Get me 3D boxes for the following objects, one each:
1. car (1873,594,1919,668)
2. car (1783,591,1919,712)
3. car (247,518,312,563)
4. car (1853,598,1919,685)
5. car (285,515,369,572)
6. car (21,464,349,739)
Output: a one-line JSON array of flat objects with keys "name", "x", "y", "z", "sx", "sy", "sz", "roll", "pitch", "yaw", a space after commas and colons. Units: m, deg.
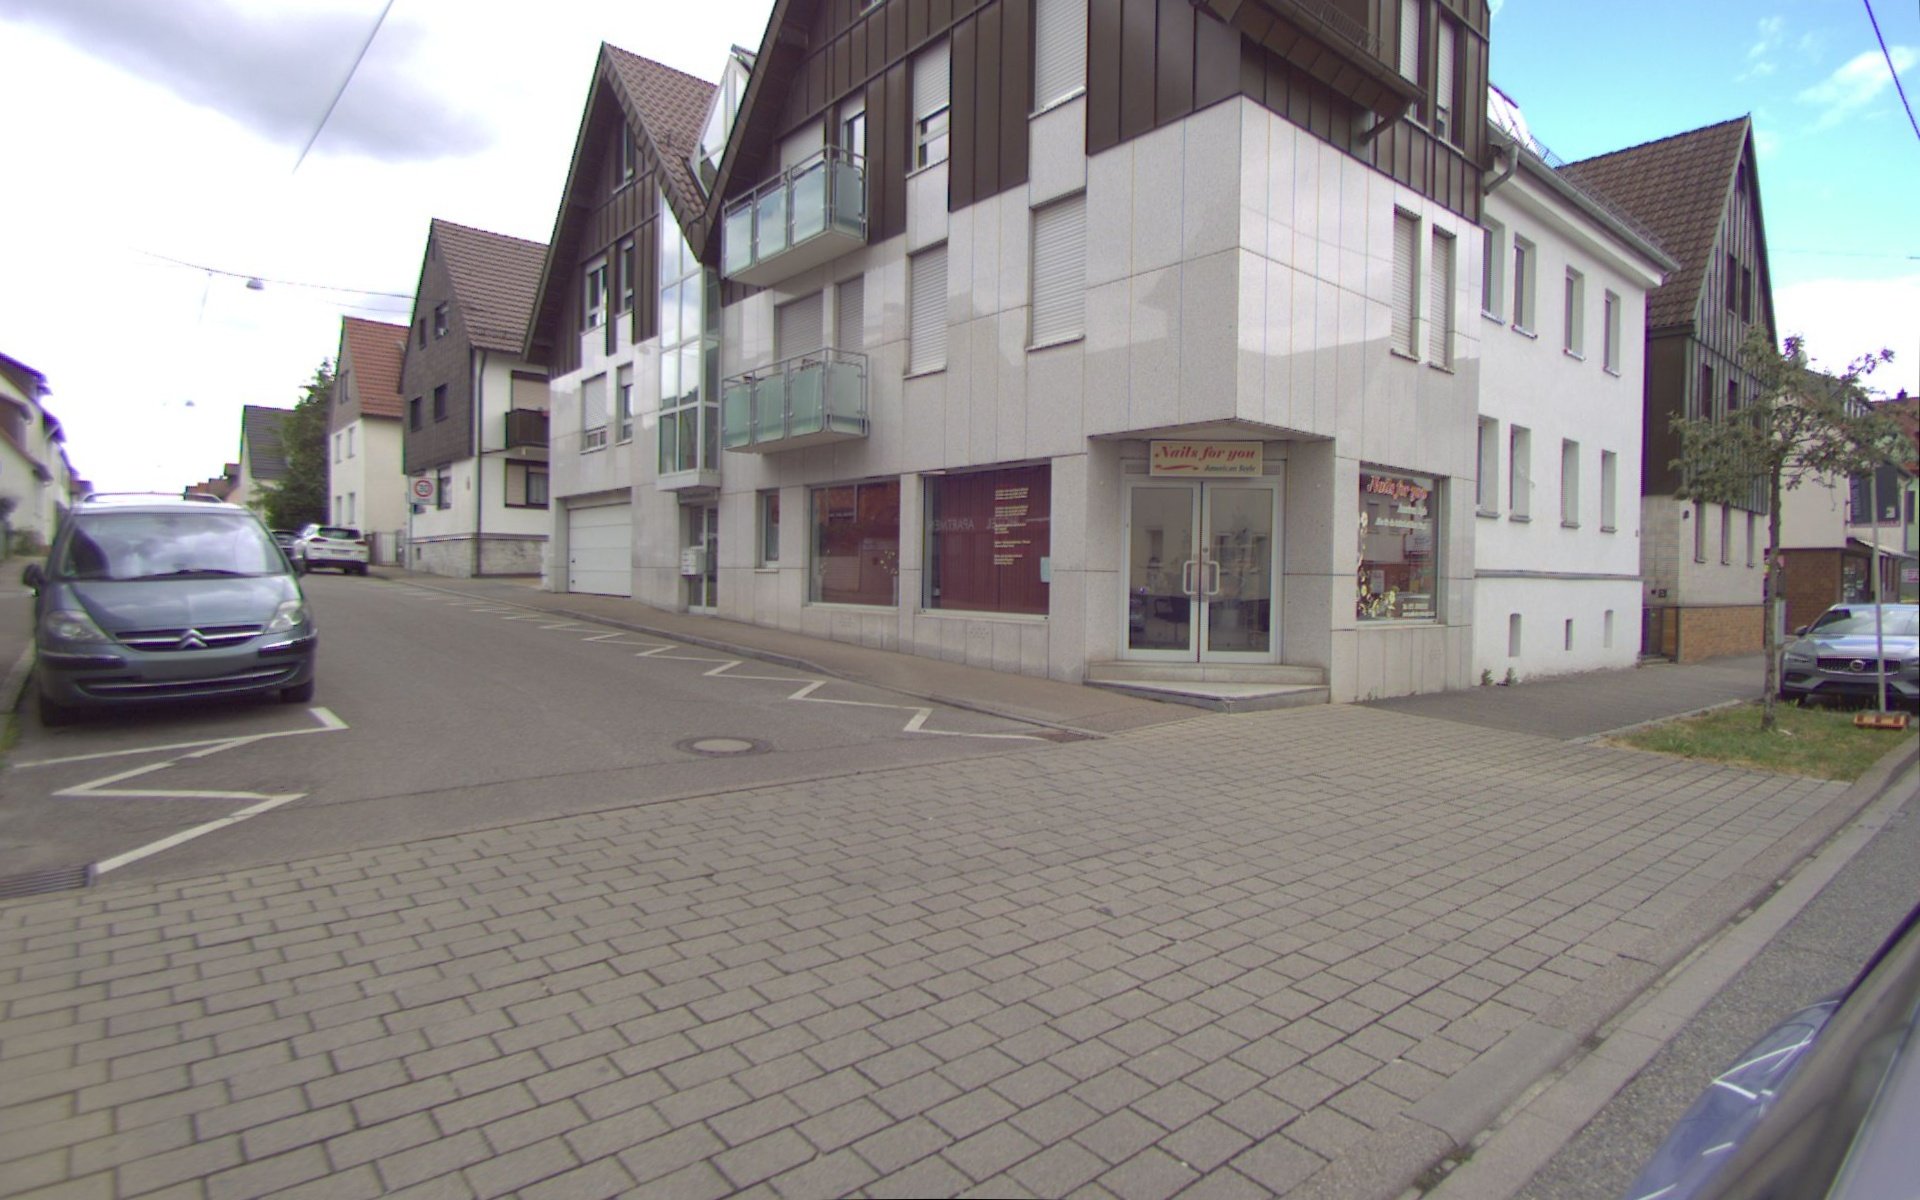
[{"name": "car", "x": 21.416, "y": 0.627, "z": 21.987, "sx": 3.923, "sy": 1.516, "sz": 1.834, "roll": 0, "pitch": 0, "yaw": -40}, {"name": "car", "x": 13.863, "y": 0.657, "z": 15.017, "sx": 4.434, "sy": 1.559, "sz": 1.879, "roll": 0, "pitch": 1, "yaw": -41}, {"name": "car", "x": -29.646, "y": -2.534, "z": 44.041, "sx": 1.964, "sy": 1.726, "sz": 4.055, "roll": 0, "pitch": 1, "yaw": -40}, {"name": "car", "x": 17.840, "y": 0.700, "z": 18.530, "sx": 4.378, "sy": 1.464, "sz": 1.757, "roll": 0, "pitch": 0, "yaw": -42}, {"name": "car", "x": -21.614, "y": -1.864, "z": 34.509, "sx": 1.932, "sy": 1.726, "sz": 4.036, "roll": 0, "pitch": 1, "yaw": -40}, {"name": "car", "x": -7.189, "y": -0.153, "z": 9.238, "sx": 1.898, "sy": 1.888, "sz": 4.488, "roll": -3, "pitch": 5, "yaw": -42}]
